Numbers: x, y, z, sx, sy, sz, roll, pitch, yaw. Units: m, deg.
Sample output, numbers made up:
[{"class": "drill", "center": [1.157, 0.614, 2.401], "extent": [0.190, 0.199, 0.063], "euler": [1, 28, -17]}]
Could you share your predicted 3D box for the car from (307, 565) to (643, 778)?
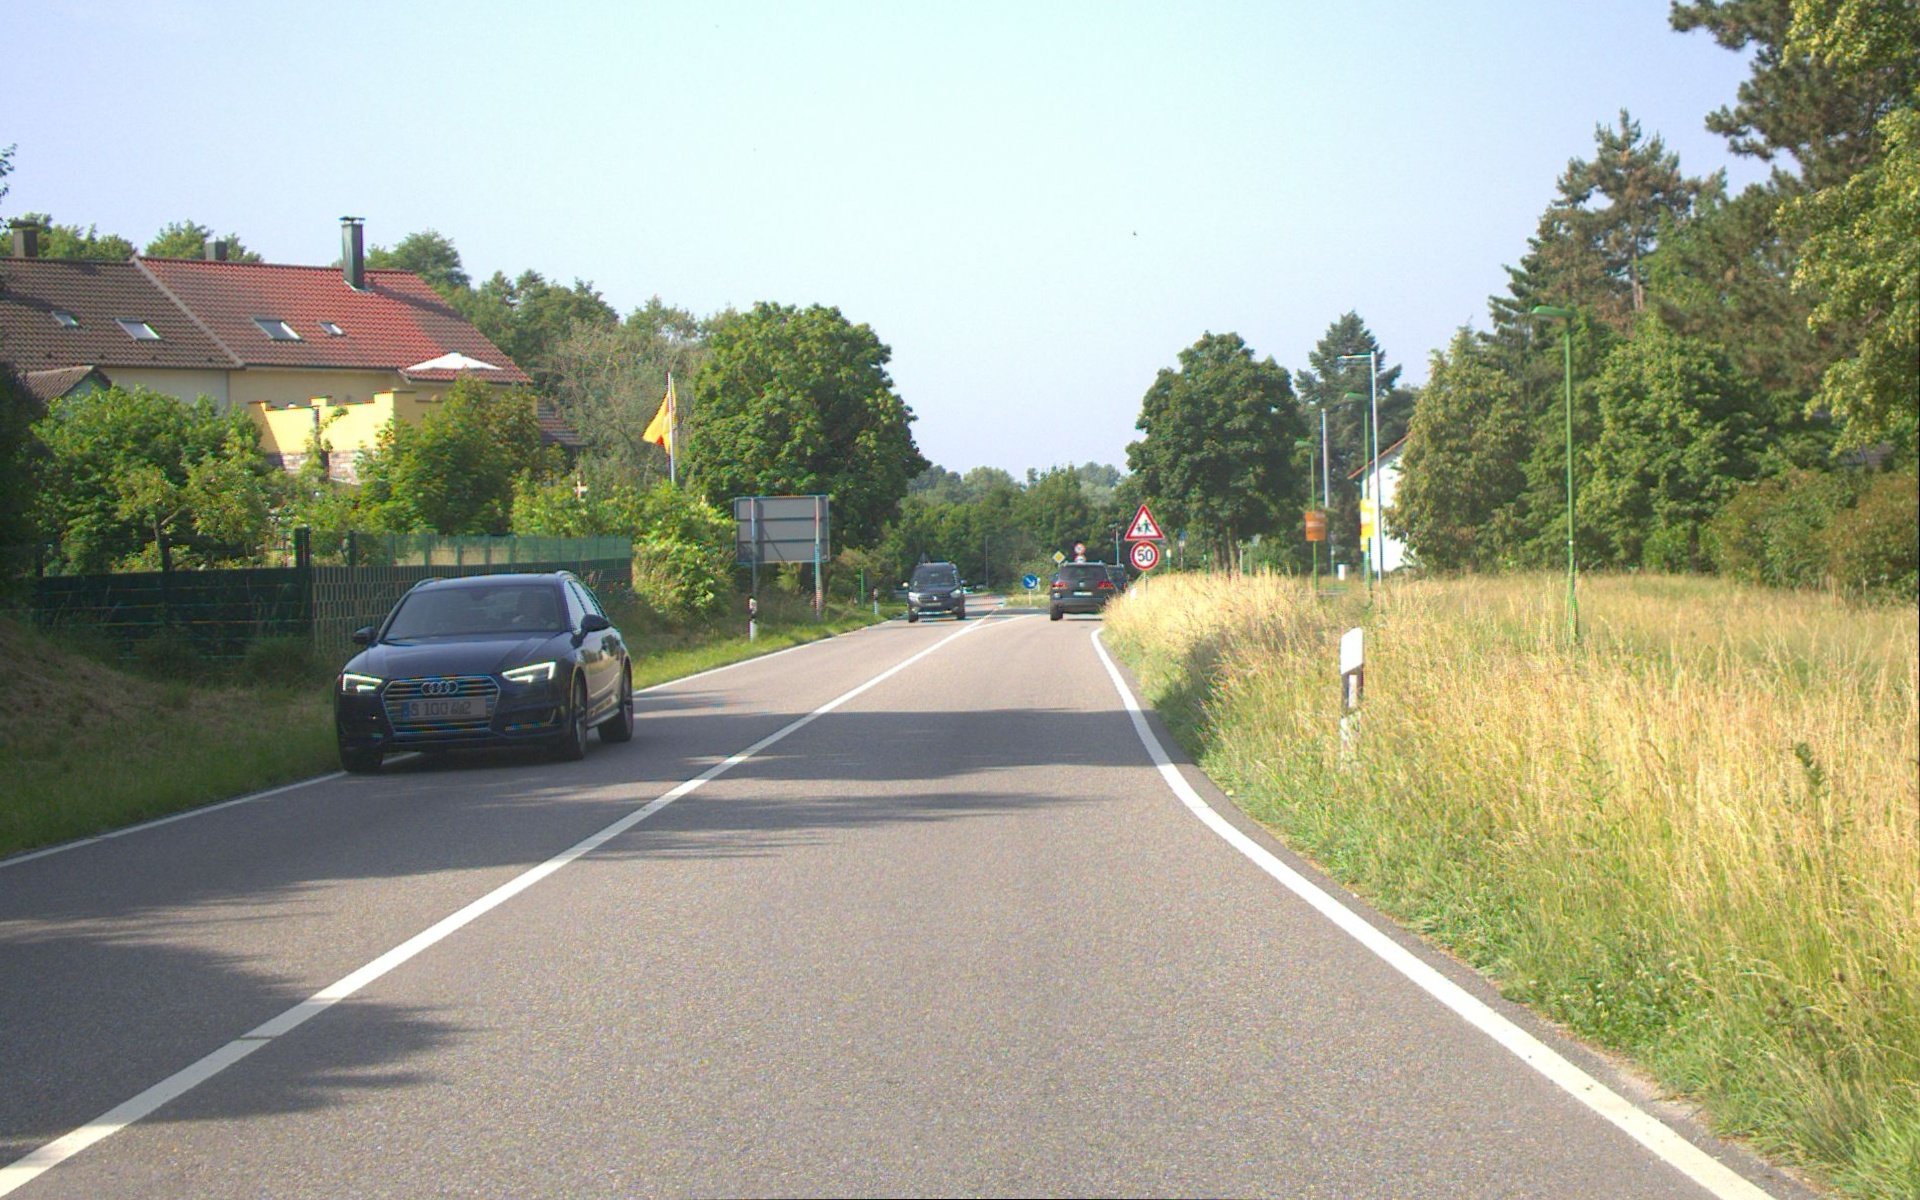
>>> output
[{"class": "car", "center": [-3.717, 0.495, 27.131], "extent": [1.870, 1.418, 4.577], "euler": [-3, 1, 1]}]

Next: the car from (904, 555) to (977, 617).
[{"class": "car", "center": [-0.591, -0.446, 106.888], "extent": [1.939, 1.811, 4.241], "euler": [-3, 1, 3]}]

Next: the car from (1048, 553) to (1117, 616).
[{"class": "car", "center": [3.589, -0.473, 100.201], "extent": [1.925, 1.765, 4.000], "euler": [-1, 1, 2]}]
